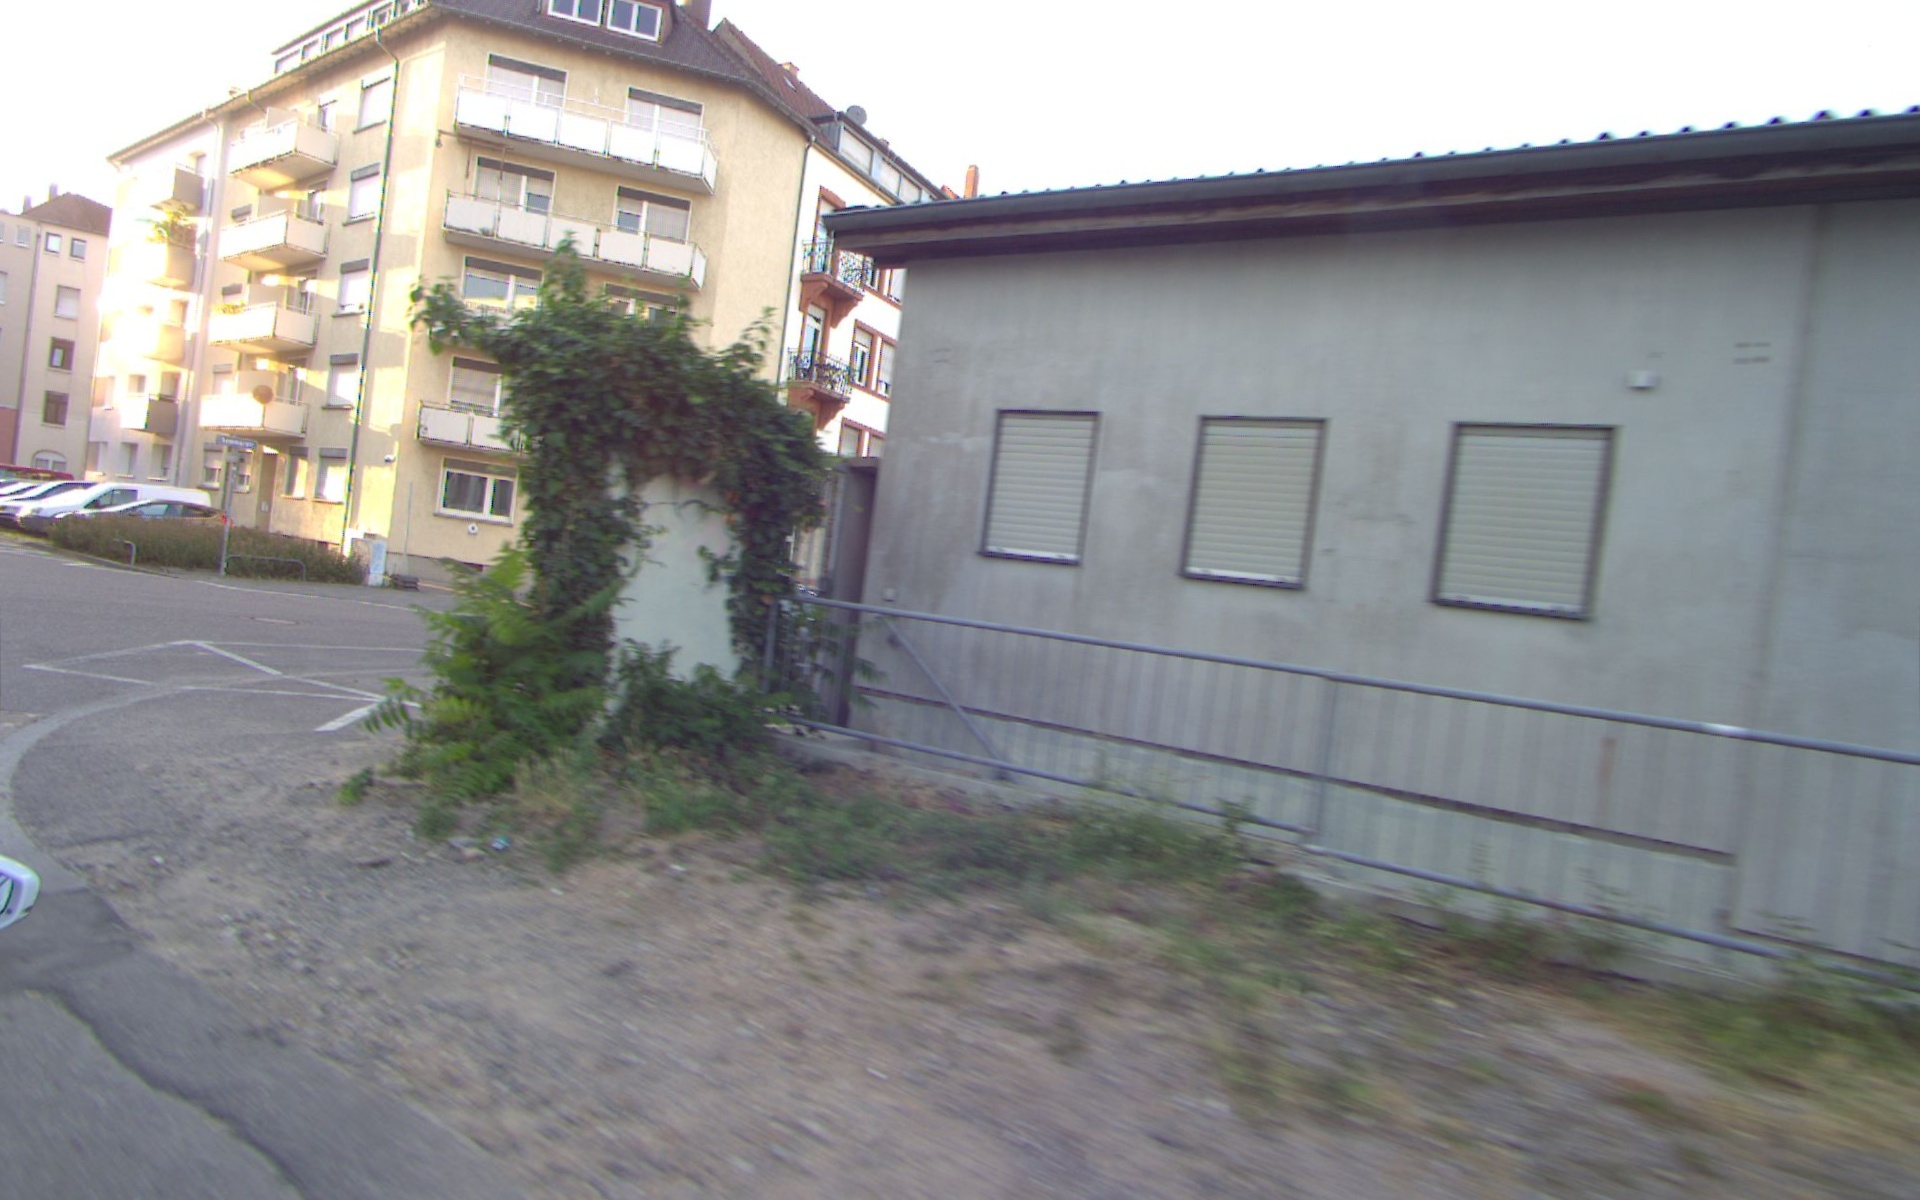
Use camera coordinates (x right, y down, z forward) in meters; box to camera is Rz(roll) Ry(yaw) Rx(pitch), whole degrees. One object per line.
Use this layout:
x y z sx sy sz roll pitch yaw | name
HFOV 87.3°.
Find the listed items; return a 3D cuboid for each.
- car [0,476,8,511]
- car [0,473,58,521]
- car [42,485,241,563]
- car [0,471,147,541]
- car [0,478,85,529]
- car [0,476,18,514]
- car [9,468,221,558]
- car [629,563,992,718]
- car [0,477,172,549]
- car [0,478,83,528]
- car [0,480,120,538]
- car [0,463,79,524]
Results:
-42.188 -4.685 41.613 1.609 1.446 3.811 7 1 35 | car
-38.126 -4.183 39.006 1.789 1.658 4.323 7 1 35 | car
-22.618 -2.072 27.924 1.714 1.510 3.874 7 -1 36 | car
-28.003 -2.929 31.364 1.629 1.717 3.789 7 1 36 | car
-32.466 -3.391 34.120 1.610 1.434 3.875 7 1 34 | car
-40.285 -4.436 40.033 1.609 1.446 3.811 7 1 35 | car
-24.297 -2.455 29.073 1.714 1.883 4.281 7 -1 36 | car
-2.106 0.528 14.134 4.642 1.549 1.832 6 -1 22 | car
-26.229 -2.585 29.955 1.679 1.541 3.956 8 0 36 | car
-33.977 -3.578 35.601 1.610 1.490 4.144 7 1 35 | car
-29.931 -3.007 32.231 1.629 1.468 4.307 7 1 36 | car
-35.922 -4.111 37.104 2.027 1.934 4.721 7 1 35 | car
